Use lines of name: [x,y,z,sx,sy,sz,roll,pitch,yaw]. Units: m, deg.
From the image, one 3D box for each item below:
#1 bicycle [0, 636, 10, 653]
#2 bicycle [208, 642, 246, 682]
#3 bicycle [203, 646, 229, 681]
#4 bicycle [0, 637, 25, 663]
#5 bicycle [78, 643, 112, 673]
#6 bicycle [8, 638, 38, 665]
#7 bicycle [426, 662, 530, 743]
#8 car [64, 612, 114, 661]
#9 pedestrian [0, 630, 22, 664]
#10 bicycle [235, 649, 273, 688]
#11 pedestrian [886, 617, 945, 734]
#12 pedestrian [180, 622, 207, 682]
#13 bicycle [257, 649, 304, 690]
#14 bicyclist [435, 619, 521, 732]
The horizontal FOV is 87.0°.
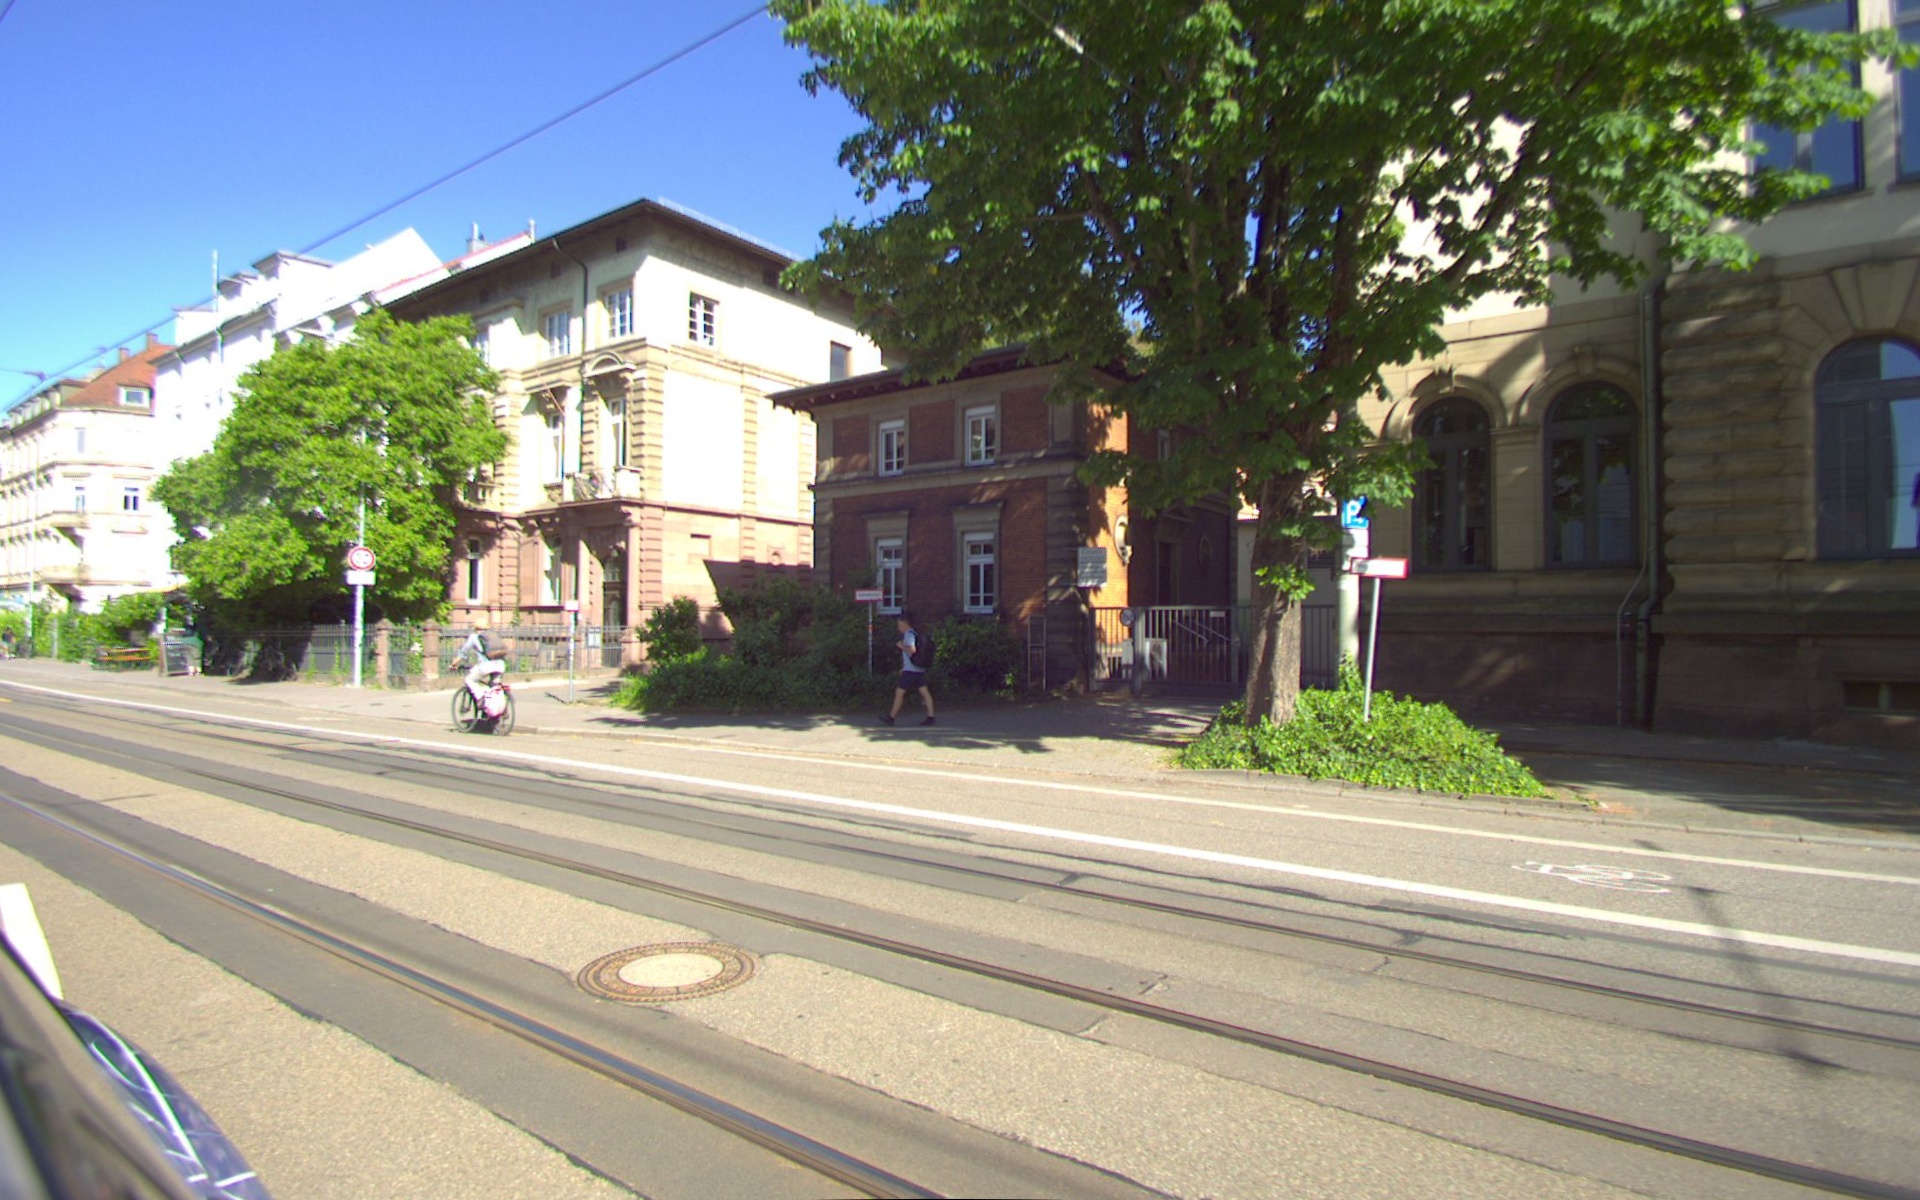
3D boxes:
bicycle: [-61.136,2.767,63.488,2.213,1.052,0.876,3,-2,-44]
bicycle: [-22.361,1.877,30.874,1.906,1.152,0.638,-2,-1,45]
bicycle: [-23.422,1.976,31.842,0.628,1.053,2.026,2,-2,-37]
bicycle: [-43.513,2.297,46.405,1.837,1.097,0.655,0,1,37]
bicycle: [-32.504,2.169,38.011,1.740,1.067,0.632,-1,0,38]
bicycle: [-41.906,2.296,45.255,1.837,1.097,0.655,0,1,37]
bicycle: [-7.420,1.545,15.541,1.930,1.133,0.679,-1,-5,41]
car: [-53.748,2.202,62.501,1.861,2.862,4.794,3,-2,-36]
pedestrian: [-42.680,2.091,45.367,0.955,1.489,0.747,-1,-1,37]
bicycle: [-20.507,1.960,29.382,1.906,1.053,0.583,-2,-2,45]
pedestrian: [-0.707,1.190,16.241,0.771,1.810,0.729,-1,0,10]
pedestrian: [-23.805,1.600,31.434,0.568,1.845,0.691,2,-2,-34]
bicycle: [-18.778,1.913,27.966,1.903,1.053,0.584,-1,-1,40]
bicyclist: [-7.424,1.147,15.580,1.237,1.657,0.679,-2,-5,41]
